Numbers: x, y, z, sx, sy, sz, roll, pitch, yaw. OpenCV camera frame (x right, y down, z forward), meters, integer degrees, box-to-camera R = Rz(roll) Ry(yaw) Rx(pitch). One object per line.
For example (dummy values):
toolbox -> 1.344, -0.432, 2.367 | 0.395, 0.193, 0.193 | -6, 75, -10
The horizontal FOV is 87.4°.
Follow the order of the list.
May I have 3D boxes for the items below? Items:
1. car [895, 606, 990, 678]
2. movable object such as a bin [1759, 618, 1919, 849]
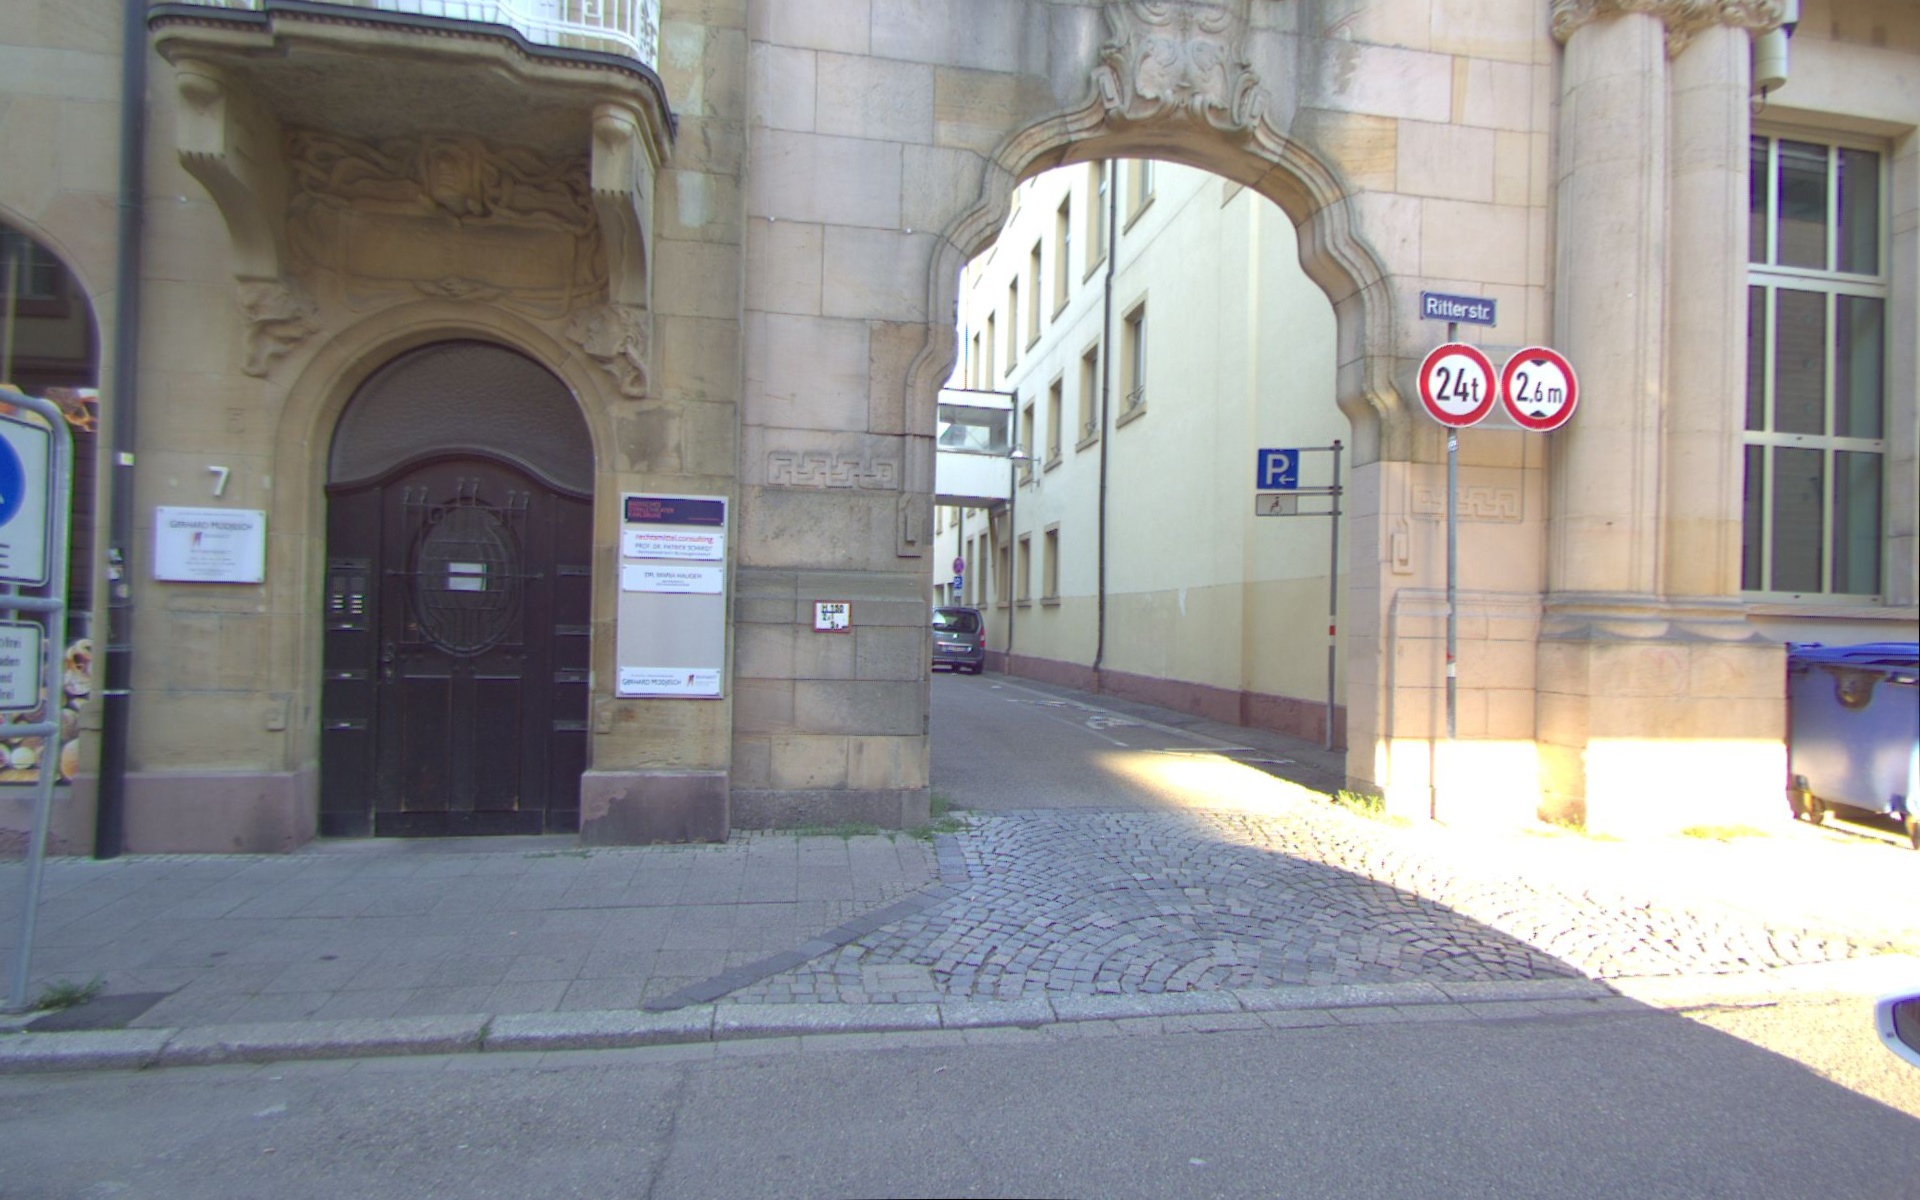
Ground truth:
car -> -0.583, 1.128, 28.575 | 1.829, 1.778, 4.152 | 5, -1, -12
movable object such as a bin -> 6.748, 0.904, 7.186 | 1.165, 1.494, 1.076 | 1, 0, -5
